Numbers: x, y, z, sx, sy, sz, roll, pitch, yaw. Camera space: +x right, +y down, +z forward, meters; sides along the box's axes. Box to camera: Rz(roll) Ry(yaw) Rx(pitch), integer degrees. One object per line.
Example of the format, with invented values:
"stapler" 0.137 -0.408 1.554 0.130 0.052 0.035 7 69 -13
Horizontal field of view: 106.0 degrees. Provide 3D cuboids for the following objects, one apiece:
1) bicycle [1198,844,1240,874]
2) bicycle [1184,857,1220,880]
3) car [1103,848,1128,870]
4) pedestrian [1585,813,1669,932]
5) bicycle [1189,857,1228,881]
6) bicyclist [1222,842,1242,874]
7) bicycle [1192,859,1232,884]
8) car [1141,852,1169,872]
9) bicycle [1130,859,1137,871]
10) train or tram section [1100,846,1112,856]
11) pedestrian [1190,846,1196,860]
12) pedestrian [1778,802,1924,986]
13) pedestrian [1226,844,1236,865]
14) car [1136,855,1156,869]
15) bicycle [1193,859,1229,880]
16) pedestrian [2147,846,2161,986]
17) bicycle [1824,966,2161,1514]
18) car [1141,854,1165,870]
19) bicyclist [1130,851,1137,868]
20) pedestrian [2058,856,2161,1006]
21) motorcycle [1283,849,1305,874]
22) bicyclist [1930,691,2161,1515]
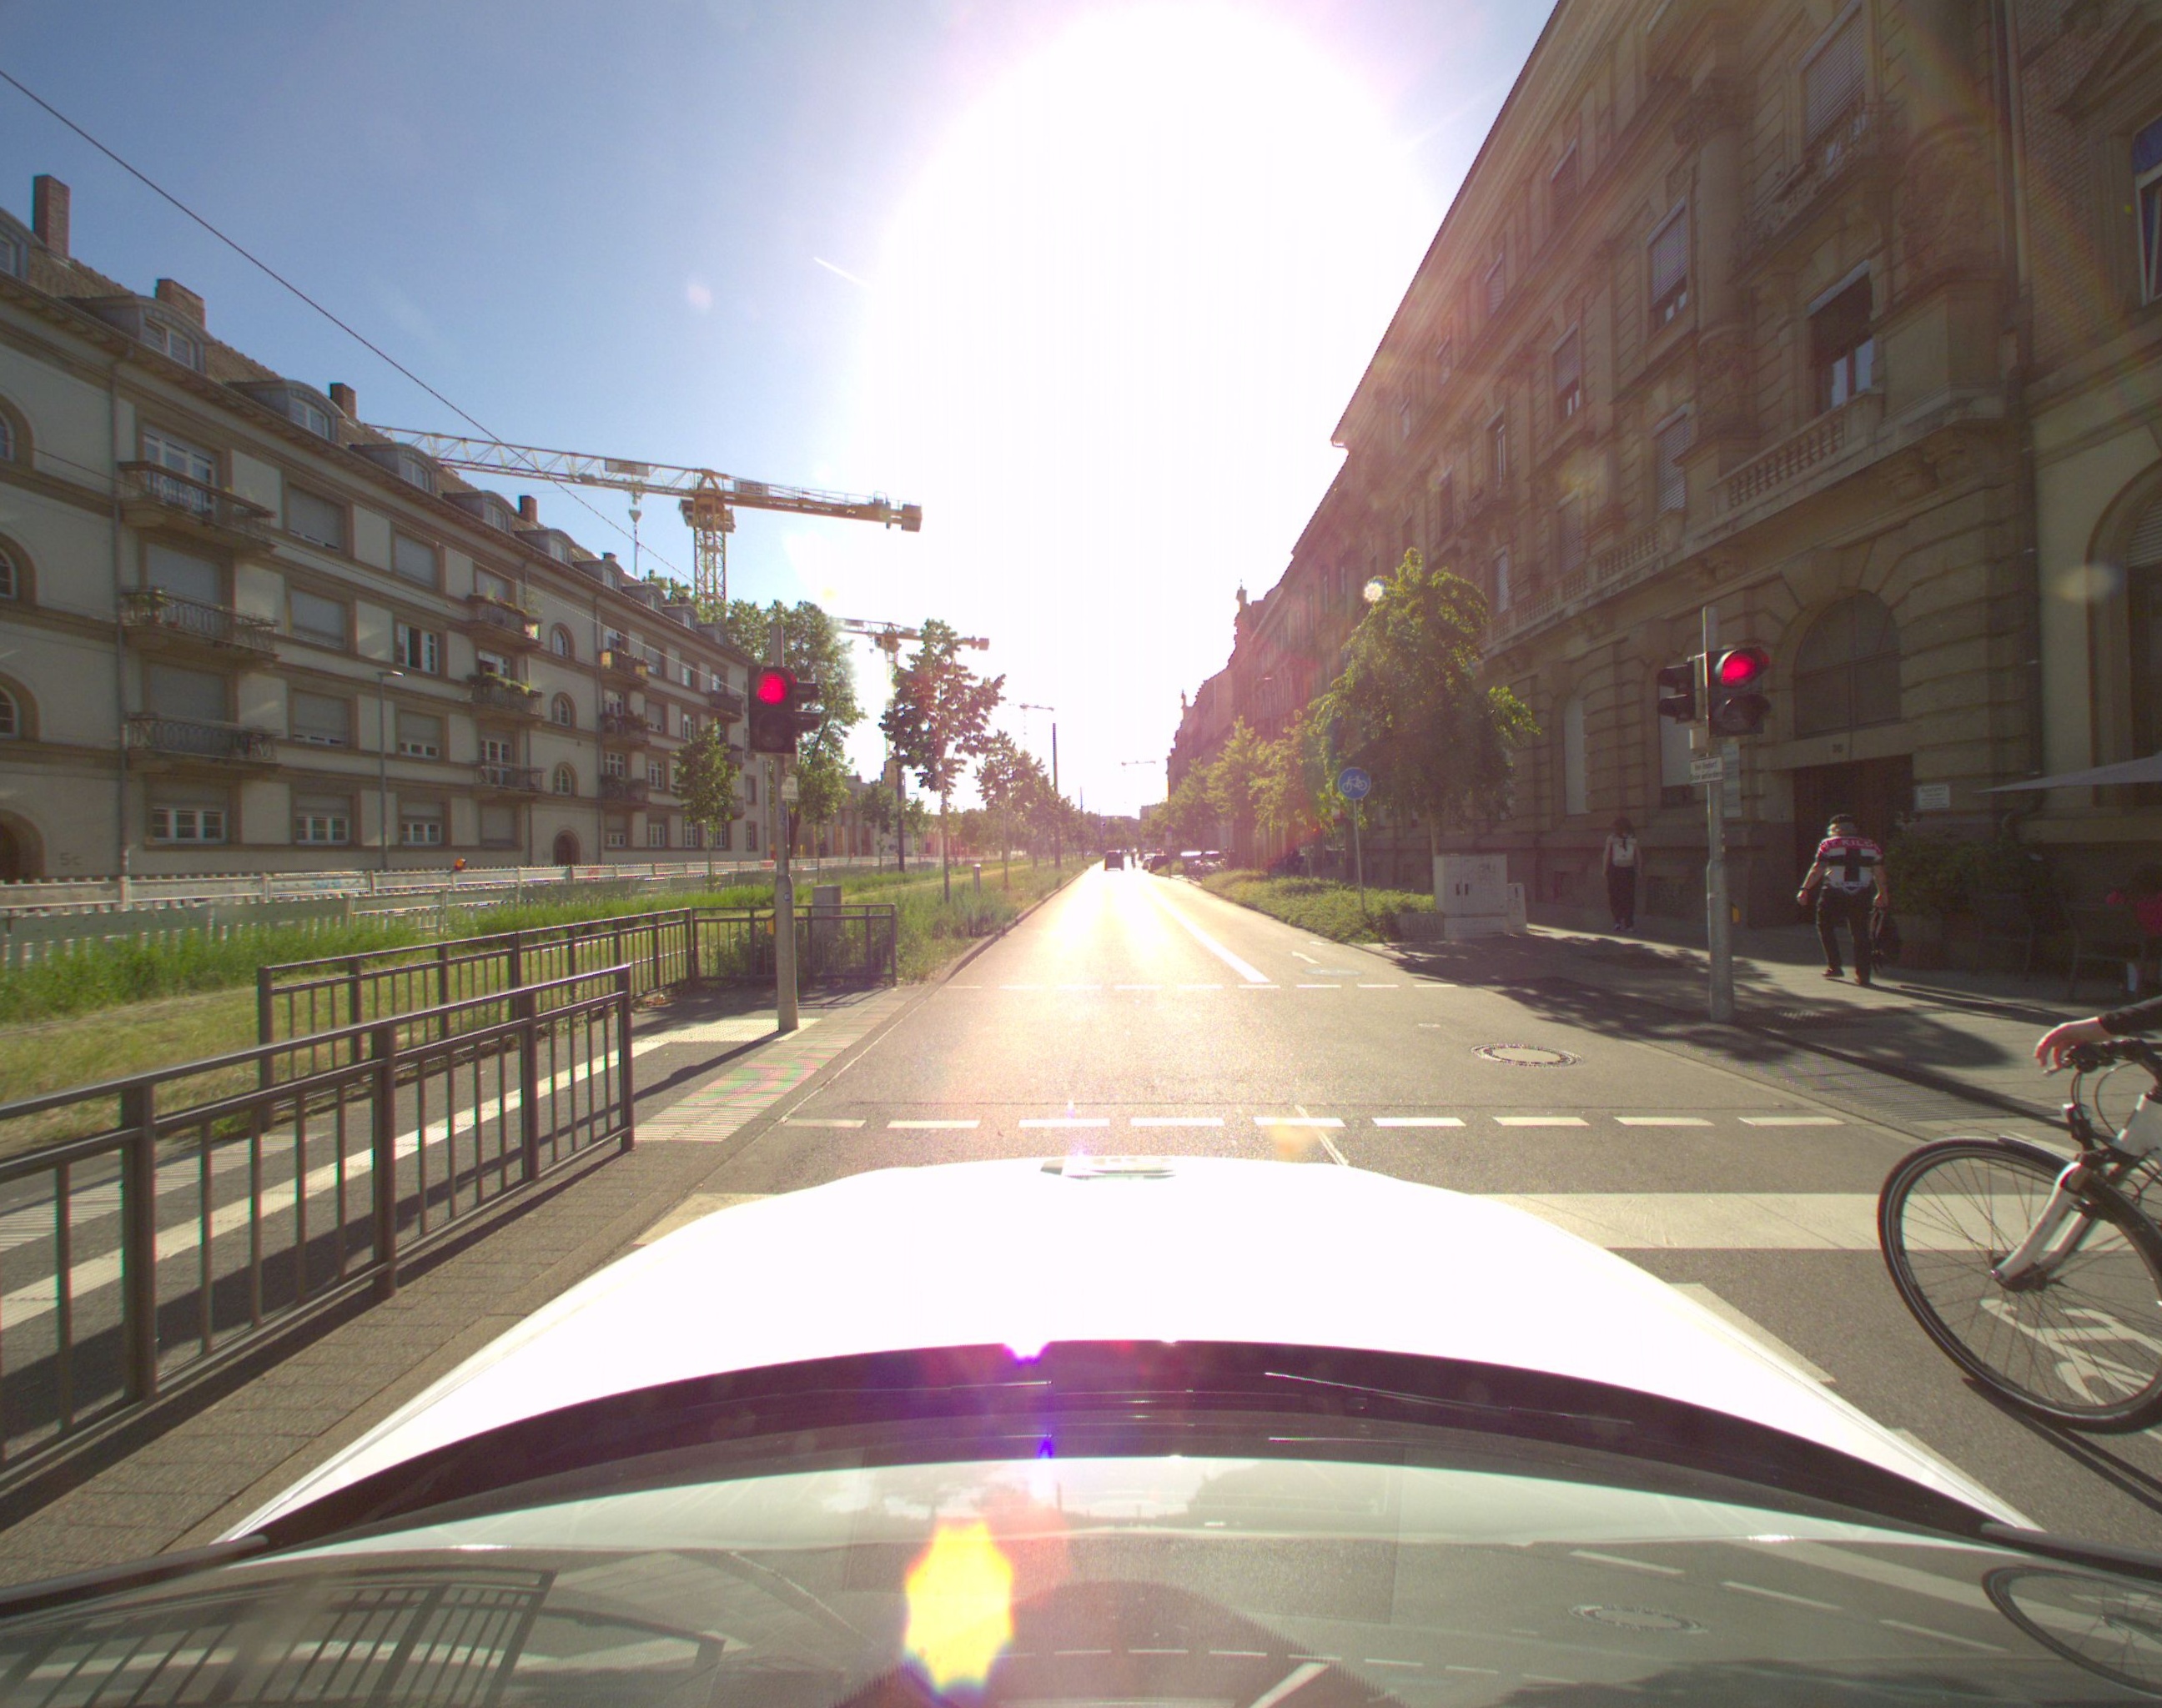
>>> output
"bicycle" 6.953 0.249 41.075 1.887 1.330 0.617 -6 0 1
"bicycle" 6.521 0.774 43.926 1.786 1.030 0.528 -6 0 1
"car" 3.206 0.466 76.419 2.192 1.926 4.655 -2 0 2
"pedestrian" 9.157 0.297 13.691 0.649 1.908 1.079 -2 0 1
"bicycle" 6.416 0.760 41.000 1.786 1.030 0.528 -6 0 1
"bicyclist" 7.615 0.180 41.060 0.795 1.530 0.663 -6 0 1
"bicycle" 6.385 0.832 39.625 1.786 1.030 0.528 -6 0 1
"car" 6.071 0.660 67.283 2.020 1.499 4.655 -2 0 2
"bicycle" 5.140 1.042 79.626 0.599 1.181 1.870 0 0 1
"train or tram section" 7.012 -0.836 229.437 2.743 2.743 9.875 0 -1 5
"pedestrian" 12.853 -0.122 93.263 0.611 1.611 0.669 -2 0 1
"pedestrian" 8.012 0.388 8.532 0.958 1.788 0.873 -1 0 34
"pedestrian" 11.491 0.060 62.495 0.611 1.611 0.669 -2 0 1
"car" 7.334 0.856 92.307 2.020 1.499 4.532 -2 0 2
"bicycle" 6.767 0.800 42.575 1.786 1.030 0.528 -2 0 1
"pedestrian" 9.882 0.536 6.937 0.703 1.236 0.635 -3 0 1
"bicycle" 2.666 0.913 1.741 0.555 1.092 1.793 0 0 1
"car" 6.989 0.757 79.779 2.020 1.499 4.532 -2 0 2
"bicyclist" 5.167 0.500 79.924 0.681 1.673 0.922 0 0 1
"pedestrian" 9.098 0.630 6.945 0.703 1.178 0.635 -3 0 1
"motorcycle" 11.528 0.395 44.031 0.697 1.267 1.983 -2 0 2
"bicyclist" 2.636 0.517 1.726 0.776 1.711 0.869 0 0 1
